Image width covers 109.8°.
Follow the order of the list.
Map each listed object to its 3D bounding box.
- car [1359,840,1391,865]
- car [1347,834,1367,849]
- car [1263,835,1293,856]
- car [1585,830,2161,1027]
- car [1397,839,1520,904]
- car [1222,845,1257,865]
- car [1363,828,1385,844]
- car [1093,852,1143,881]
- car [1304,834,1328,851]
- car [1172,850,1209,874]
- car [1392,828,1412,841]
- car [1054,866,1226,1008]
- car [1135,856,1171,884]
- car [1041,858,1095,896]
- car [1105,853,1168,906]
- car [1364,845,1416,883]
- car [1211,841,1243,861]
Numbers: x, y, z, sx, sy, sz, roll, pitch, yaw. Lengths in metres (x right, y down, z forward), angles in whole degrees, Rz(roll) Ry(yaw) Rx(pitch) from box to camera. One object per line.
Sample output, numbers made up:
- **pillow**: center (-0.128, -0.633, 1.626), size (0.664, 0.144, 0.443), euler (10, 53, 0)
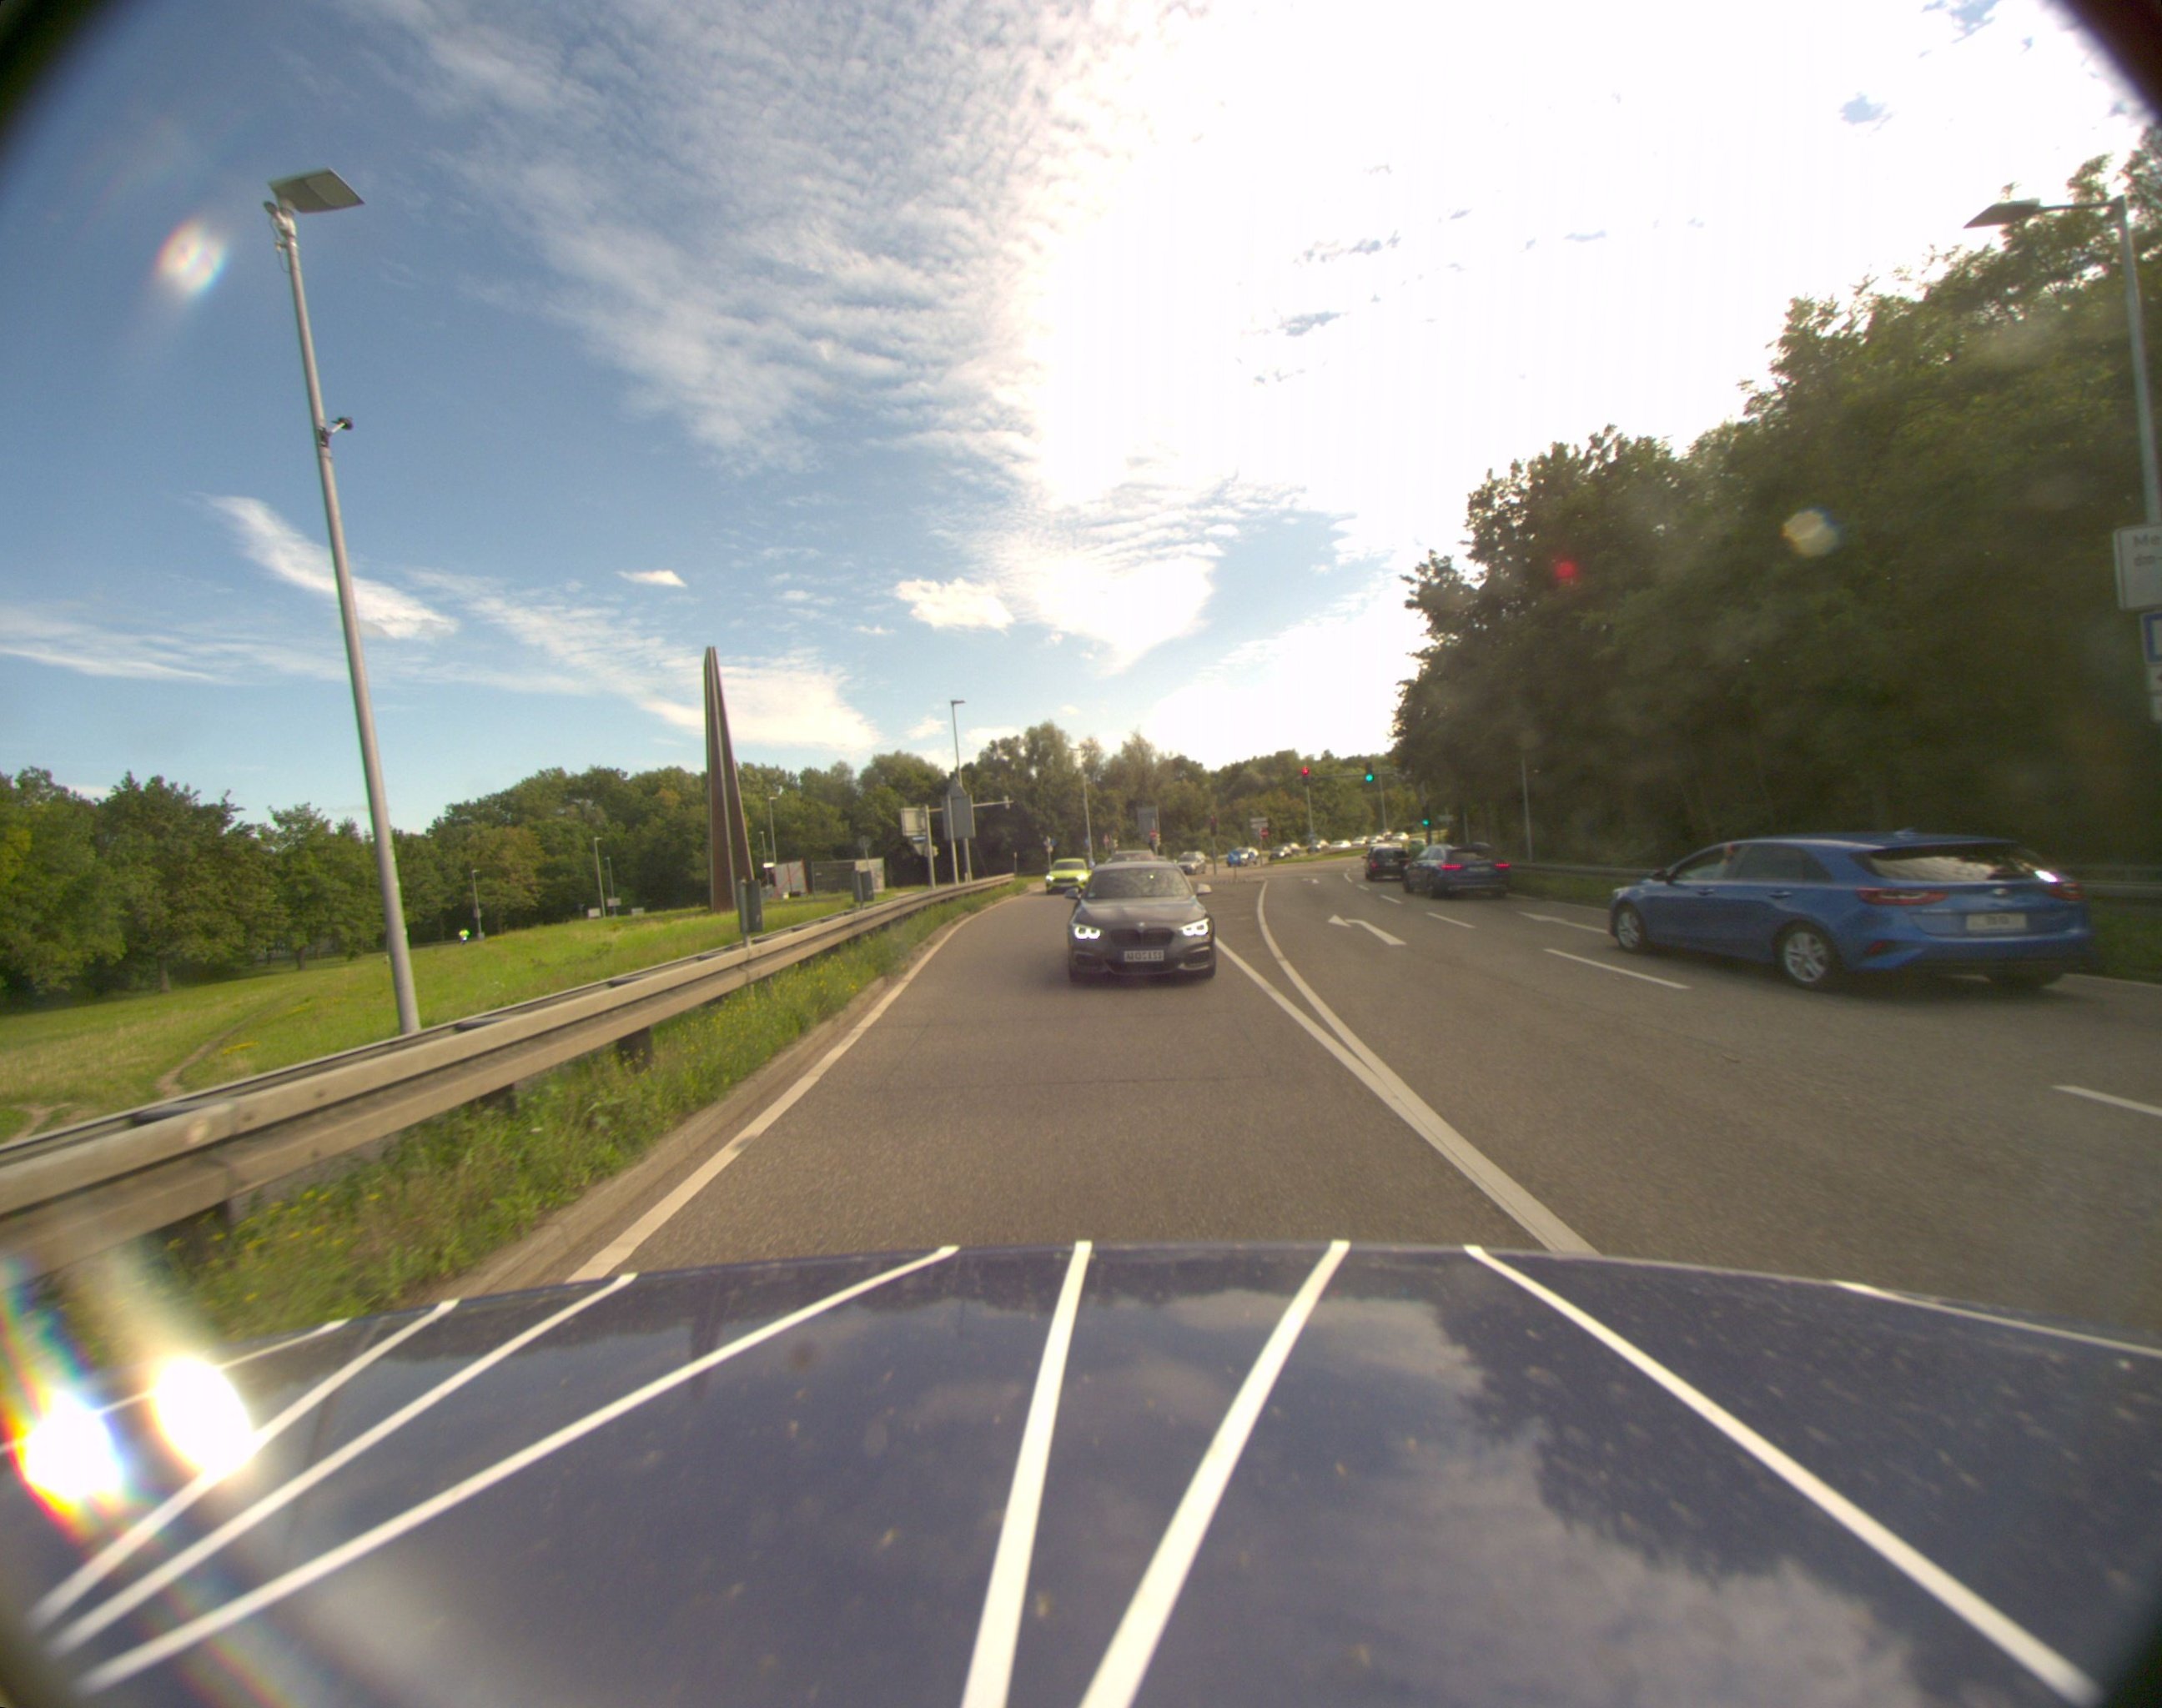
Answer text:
- **car**: center (19.578, -0.120, 50.647), size (1.816, 1.511, 4.833), euler (-3, 0, 21)
- **car**: center (40.312, -1.850, 110.924), size (1.995, 2.002, 4.007), euler (-3, 1, 31)
- **car**: center (20.610, -0.913, 79.510), size (1.995, 2.002, 4.279), euler (-3, 1, 28)
- **car**: center (7.519, 0.572, 7.973), size (1.897, 1.439, 4.363), euler (-3, 0, 7)
- **car**: center (10.195, 0.423, 20.950), size (1.817, 1.511, 4.768), euler (-3, 0, 12)
- **car**: center (14.401, 0.081, 68.904), size (1.995, 1.591, 4.288), euler (-3, 1, 26)
- **car**: center (40.507, -2.530, 105.019), size (1.995, 2.002, 4.007), euler (-3, 1, 32)
- **car**: center (2.352, 0.731, 47.153), size (1.996, 1.543, 4.005), euler (-3, 1, 19)
- **car**: center (30.793, -1.534, 99.377), size (1.995, 2.002, 4.007), euler (-3, 1, 31)
- **car**: center (7.823, 0.560, 54.191), size (1.638, 1.543, 3.746), euler (-3, 0, 23)
- **car**: center (52.520, -3.214, 124.345), size (1.995, 2.002, 4.007), euler (-2, 1, 37)
- **car**: center (0.574, 0.934, 10.235), size (1.786, 1.396, 3.970), euler (-3, 0, -2)
- **car**: center (3.859, 0.806, 41.049), size (1.690, 1.315, 3.785), euler (-3, 1, 3)
- **car**: center (-0.476, 0.936, 32.918), size (1.818, 1.396, 4.392), euler (-3, 0, 5)
- **car**: center (1.827, 0.751, 24.926), size (1.818, 1.498, 4.392), euler (-3, 0, 4)
- **car**: center (12.512, 0.359, 30.971), size (1.627, 1.357, 3.778), euler (-3, 0, 18)
- **car**: center (15.463, -0.334, 80.283), size (1.995, 2.002, 4.007), euler (-3, 1, 30)
